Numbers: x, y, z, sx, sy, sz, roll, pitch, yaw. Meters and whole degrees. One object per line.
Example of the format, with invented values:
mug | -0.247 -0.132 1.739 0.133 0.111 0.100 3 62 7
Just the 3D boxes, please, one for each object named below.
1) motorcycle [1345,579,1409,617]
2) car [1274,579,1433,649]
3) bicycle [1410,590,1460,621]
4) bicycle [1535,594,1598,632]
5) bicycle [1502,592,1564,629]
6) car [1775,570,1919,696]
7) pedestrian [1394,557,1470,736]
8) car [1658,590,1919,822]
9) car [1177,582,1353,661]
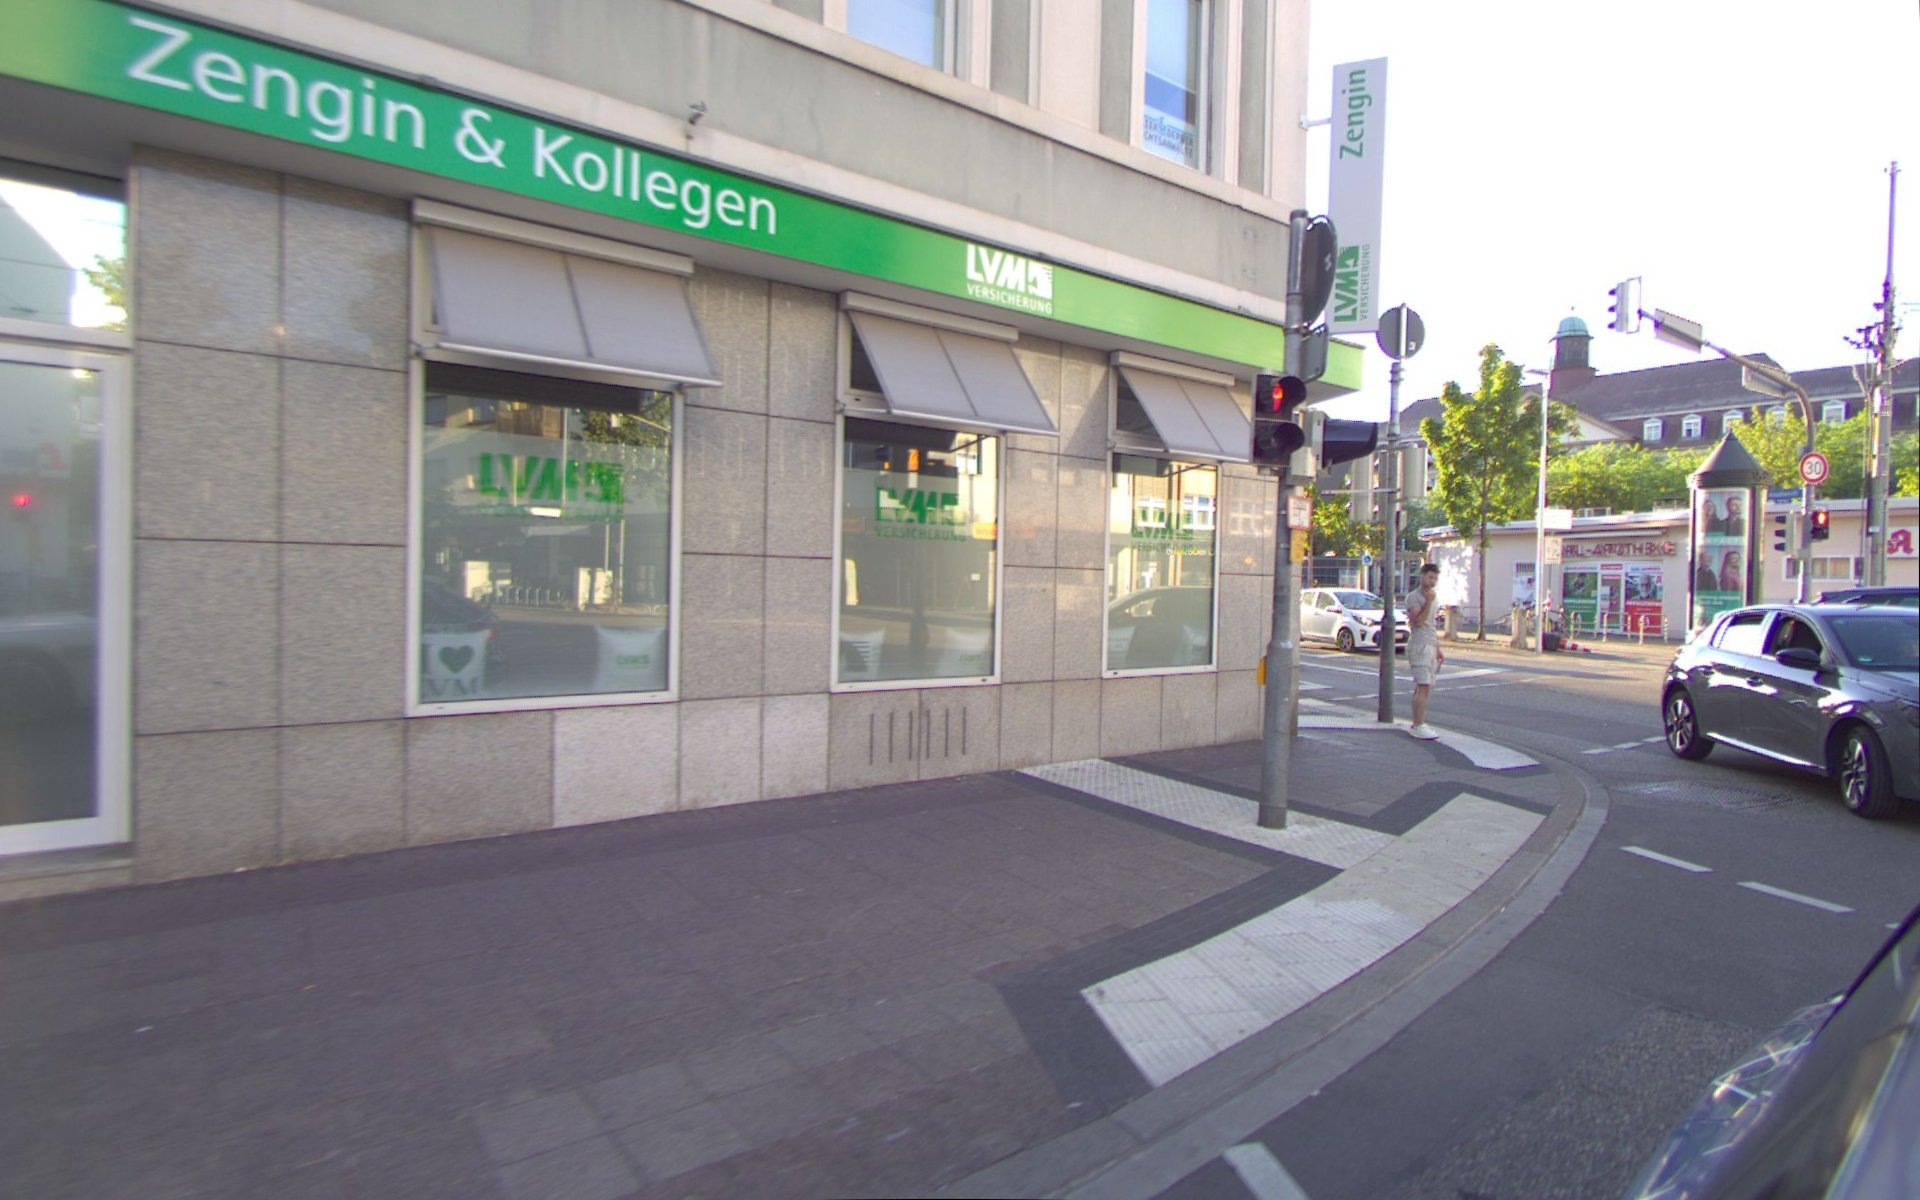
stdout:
motorcycle | 16.616 -0.080 40.360 2.350 1.464 0.702 1 1 -13
car | 9.465 0.269 24.707 1.684 1.490 3.994 0 2 -12
bicycle | 17.470 0.204 37.236 1.774 1.116 0.396 1 1 -13
bicycle | 18.868 0.411 31.493 1.833 1.128 0.450 1 1 -11
bicycle | 18.453 0.344 32.591 1.833 1.128 0.450 1 1 -11
car | 14.229 0.477 14.024 1.795 1.719 4.257 0 2 -38
pedestrian | 4.865 0.446 10.429 0.647 1.764 0.688 1 1 26
car | 7.263 0.660 7.820 1.726 1.461 3.890 0 0 13
car | 6.455 0.379 21.907 1.790 1.490 3.994 0 2 -15
